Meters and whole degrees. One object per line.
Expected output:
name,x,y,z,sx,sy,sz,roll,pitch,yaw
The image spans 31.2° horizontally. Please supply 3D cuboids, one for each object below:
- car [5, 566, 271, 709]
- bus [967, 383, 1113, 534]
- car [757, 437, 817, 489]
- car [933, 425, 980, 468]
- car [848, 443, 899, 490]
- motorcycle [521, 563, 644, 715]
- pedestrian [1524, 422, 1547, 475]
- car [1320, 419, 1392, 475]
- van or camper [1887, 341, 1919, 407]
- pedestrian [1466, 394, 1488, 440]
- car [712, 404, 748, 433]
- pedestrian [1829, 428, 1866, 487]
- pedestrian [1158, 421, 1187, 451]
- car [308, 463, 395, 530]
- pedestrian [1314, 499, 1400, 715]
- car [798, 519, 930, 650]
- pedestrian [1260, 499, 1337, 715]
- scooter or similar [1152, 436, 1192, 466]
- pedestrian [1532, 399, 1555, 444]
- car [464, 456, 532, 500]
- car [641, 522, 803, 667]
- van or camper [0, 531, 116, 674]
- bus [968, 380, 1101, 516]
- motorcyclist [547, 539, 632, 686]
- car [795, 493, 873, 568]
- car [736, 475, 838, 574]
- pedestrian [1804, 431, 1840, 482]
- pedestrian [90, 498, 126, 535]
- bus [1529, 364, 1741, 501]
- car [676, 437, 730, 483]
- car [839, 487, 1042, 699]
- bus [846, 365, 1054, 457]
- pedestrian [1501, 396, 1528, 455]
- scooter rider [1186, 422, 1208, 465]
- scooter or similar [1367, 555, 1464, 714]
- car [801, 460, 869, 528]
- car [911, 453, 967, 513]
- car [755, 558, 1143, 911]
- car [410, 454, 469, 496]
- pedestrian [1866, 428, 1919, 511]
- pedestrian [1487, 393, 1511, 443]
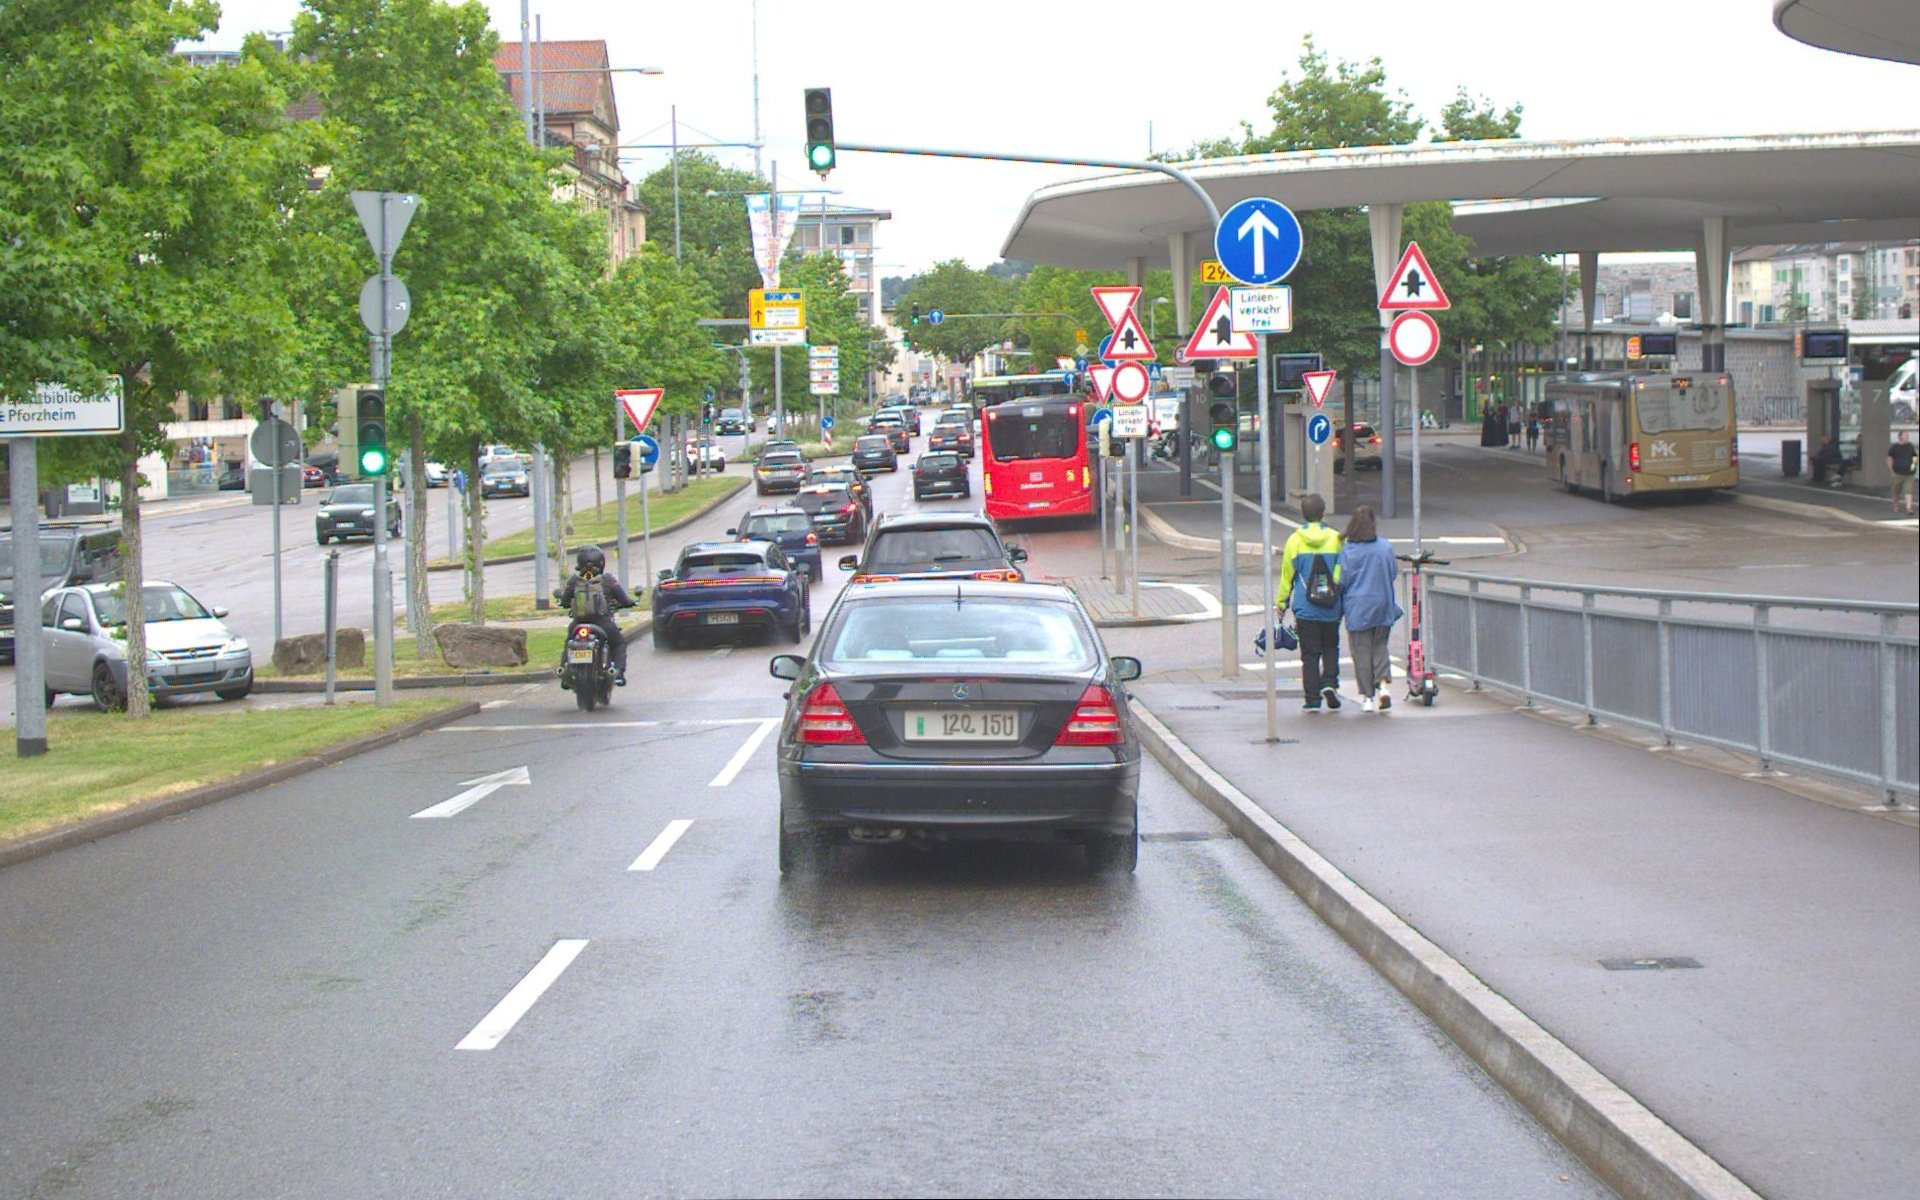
car,-9.451,0.413,39.344,1.632,1.443,3.876,-5,2,-34
bus,1.940,-3.666,86.147,3.286,3.280,10.880,-3,4,1
car,-5.887,-4.662,117.286,1.865,1.678,4.000,1,1,-1
car,-0.157,-6.340,142.403,1.865,1.678,4.000,1,1,-1
car,-3.339,-5.141,132.727,1.865,1.678,4.000,1,1,-1
motorcycle,-3.610,0.352,33.040,0.793,1.257,1.855,-4,4,4
pedestrian,18.494,-4.878,110.542,0.560,1.686,0.614,-2,4,-7
car,12.596,-4.899,109.620,1.712,1.656,4.241,-1,4,-1
van or camper,39.555,-8.967,136.958,4.607,2.549,2.119,1,2,-1
pedestrian,18.247,-6.460,121.339,0.580,1.573,0.560,1,0,30
car,-13.908,-10.969,208.010,1.780,1.561,3.431,-4,4,0
pedestrian,21.367,-3.439,82.734,0.793,1.373,0.633,-1,4,17
pedestrian,7.486,-5.777,121.121,0.914,0.981,0.633,-1,0,14
car,-17.749,-3.040,100.459,1.908,1.656,4.860,-2,5,-4
pedestrian,3.108,0.058,26.945,0.589,1.665,0.580,1,-1,-1
car,-1.383,-0.266,50.945,1.741,1.561,3.872,-4,4,0
pedestrian,2.648,0.051,26.940,0.522,1.664,0.580,-1,1,-1
scooter or similar,7.467,-5.257,121.202,1.243,1.009,0.764,-1,3,14
pedestrian,20.610,-6.308,121.420,0.580,1.573,0.560,2,0,35
car,-18.004,-4.777,134.087,1.847,1.499,4.920,-2,3,1
car,-3.230,-0.121,47.389,1.816,1.565,4.405,-4,4,0
van or camper,-14.704,0.056,53.993,2.216,2.065,5.285,-4,1,-9
bus,1.976,-4.207,93.356,3.291,3.277,8.851,-3,4,1
motorcyclist,-3.572,0.115,33.200,0.641,1.342,0.689,-3,4,4
car,-2.992,-1.687,82.473,1.575,1.499,3.872,-4,4,1
car,-3.346,-1.503,67.053,1.676,1.617,3.872,-4,4,0
pedestrian,21.239,-3.542,84.745,0.793,1.222,0.633,-1,4,17
pedestrian,-31.319,-3.075,126.369,0.976,1.263,0.849,3,5,21
bus,16.589,-4.270,85.423,2.721,3.032,12.092,-3,4,0
car,-10.965,-5.962,146.532,1.641,1.798,3.641,1,0,-14
car,-0.205,-0.152,38.014,1.957,1.869,4.875,-4,4,0
bus,-0.568,-8.864,161.931,2.839,3.973,11.860,-5,4,-39
pedestrian,18.985,-5.968,117.713,0.724,2.007,0.669,1,0,26
scooter rider,8.333,-5.504,120.985,0.592,1.484,0.764,-1,3,14
scooter or similar,3.639,0.262,27.569,0.463,1.217,1.859,-2,0,-1
car,-3.373,-2.887,93.258,1.575,1.561,3.872,-4,4,0
car,-0.649,-3.610,105.719,1.575,1.561,3.872,-4,4,0
car,-0.063,0.569,17.349,1.697,1.457,4.304,-1,2,0
car,-22.759,-5.491,150.403,1.847,1.646,4.420,-2,3,0
pedestrian,19.379,-2.697,71.040,0.717,1.678,1.021,-5,4,-25
pedestrian,19.017,-6.414,121.297,0.580,1.710,0.560,2,0,35
